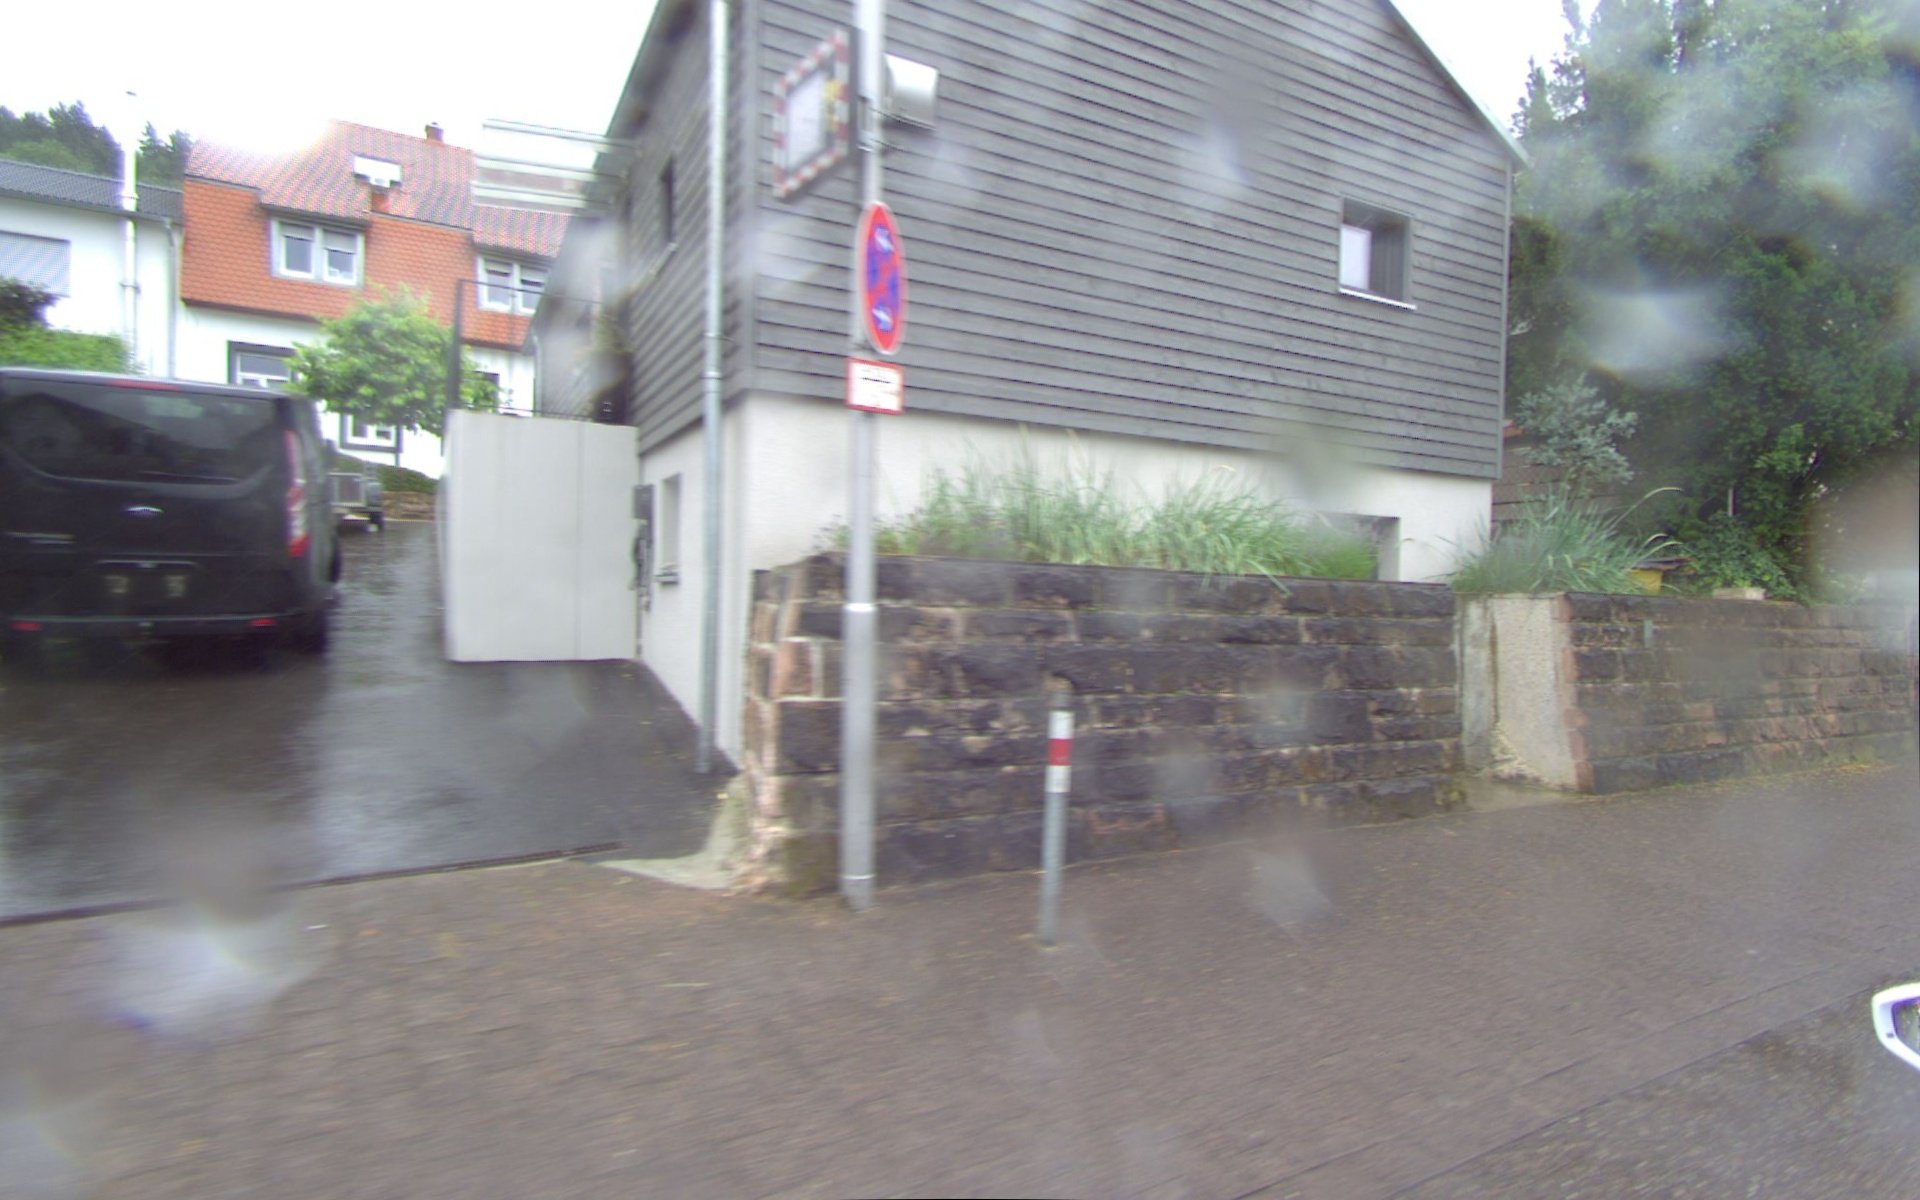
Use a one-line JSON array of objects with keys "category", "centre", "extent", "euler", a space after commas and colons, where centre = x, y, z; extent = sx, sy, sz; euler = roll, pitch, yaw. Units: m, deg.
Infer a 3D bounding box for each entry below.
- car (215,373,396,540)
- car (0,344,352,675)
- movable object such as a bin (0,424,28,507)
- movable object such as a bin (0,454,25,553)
[{"category": "car", "centre": [-9.650, -2.176, 15.040], "extent": [1.977, 1.991, 3.967], "euler": [2, 8, -31]}, {"category": "car", "centre": [-6.129, -0.826, 8.093], "extent": [1.977, 1.991, 3.967], "euler": [2, 8, -31]}, {"category": "movable object such as a bin", "centre": [-12.960, -1.811, 13.231], "extent": [0.822, 1.050, 0.827], "euler": [2, 7, -30]}, {"category": "movable object such as a bin", "centre": [-11.249, -1.120, 11.347], "extent": [0.822, 1.050, 0.827], "euler": [1, 9, -30]}]
